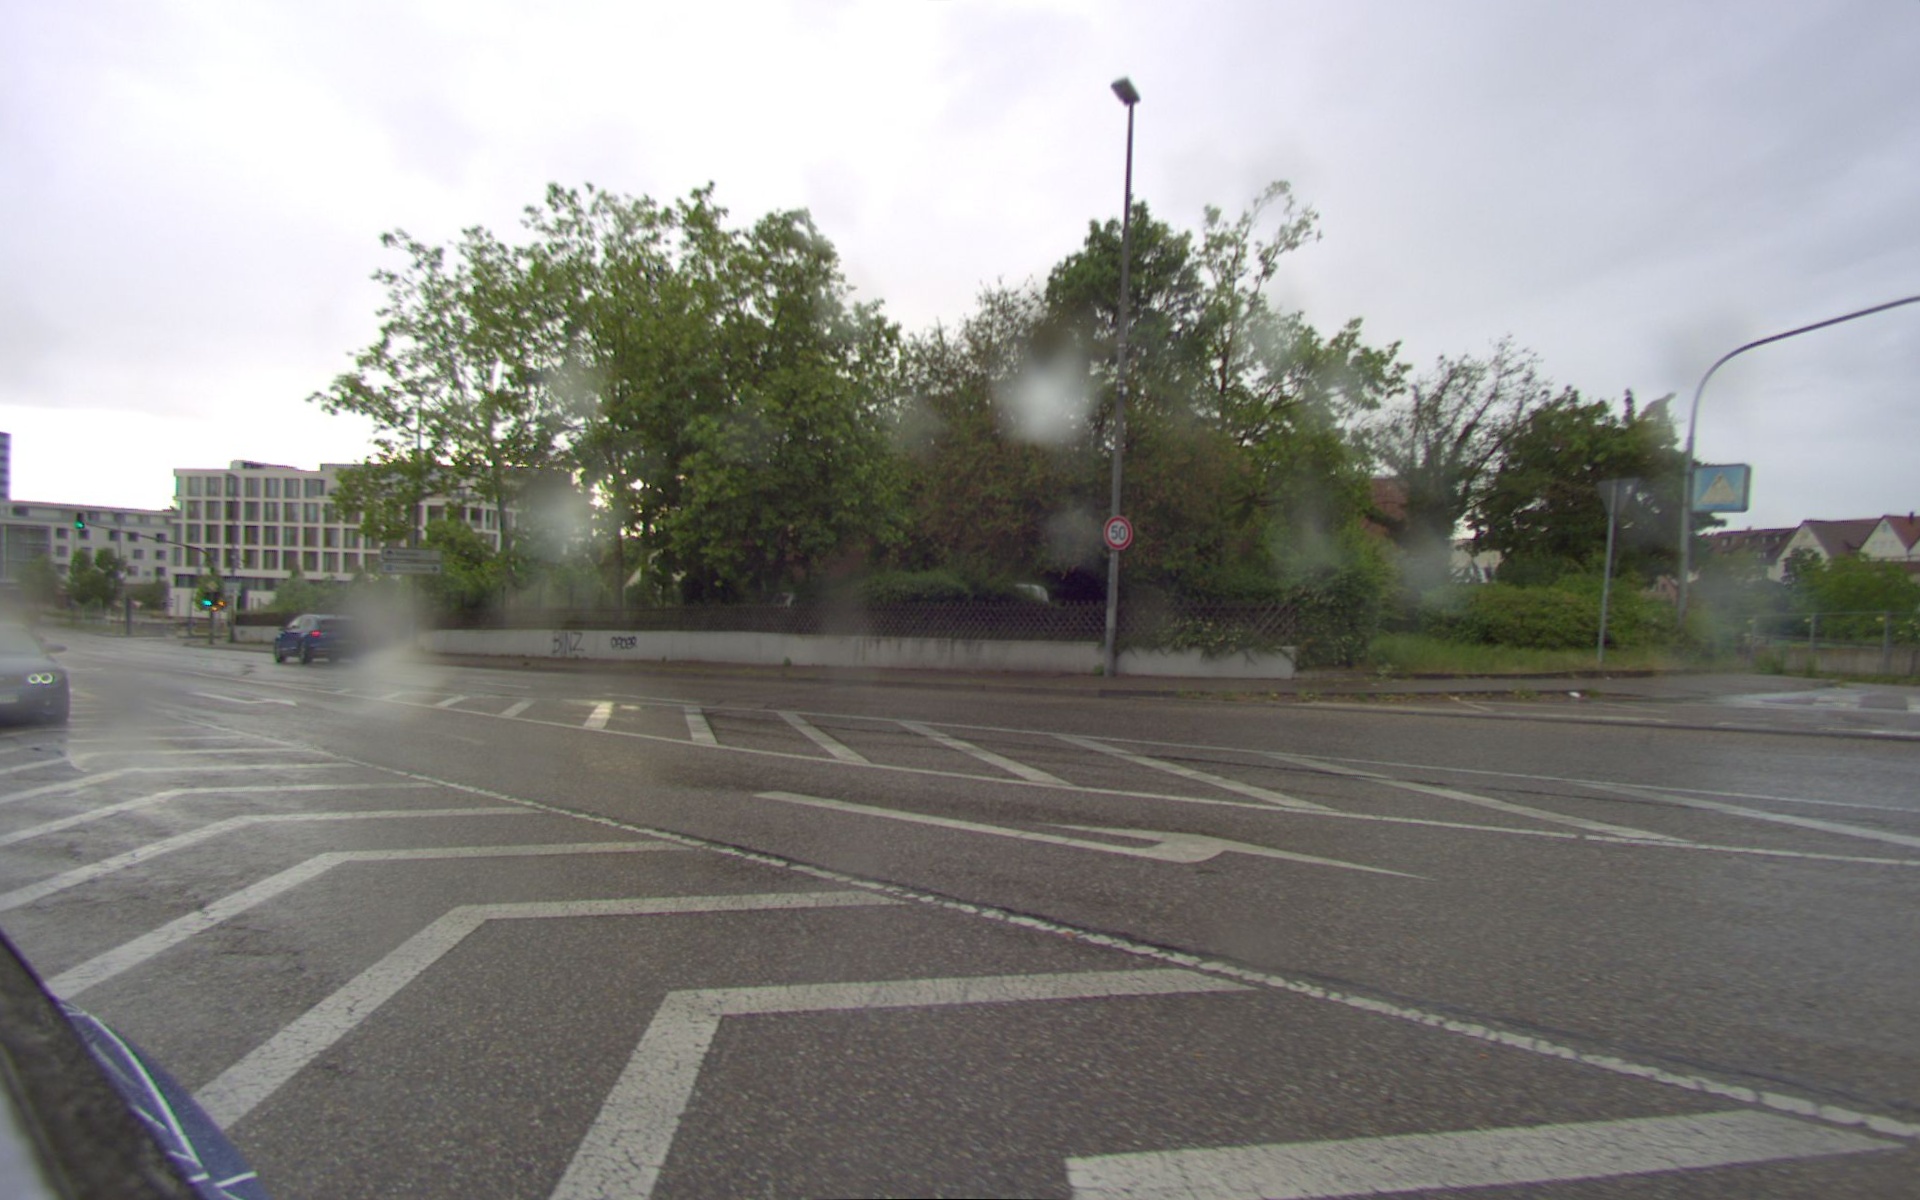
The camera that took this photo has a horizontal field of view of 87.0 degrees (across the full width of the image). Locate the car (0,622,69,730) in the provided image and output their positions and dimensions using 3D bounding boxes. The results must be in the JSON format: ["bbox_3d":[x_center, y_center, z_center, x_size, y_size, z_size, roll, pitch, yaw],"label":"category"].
[{"bbox_3d":[-14.688,1.054,14.986,4.945,1.357,1.766,0,0,43],"label":"car"}]

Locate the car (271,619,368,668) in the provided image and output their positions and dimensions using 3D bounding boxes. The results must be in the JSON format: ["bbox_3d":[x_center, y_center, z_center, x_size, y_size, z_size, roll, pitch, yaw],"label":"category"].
[{"bbox_3d":[-21.453,1.409,33.843,4.000,1.526,1.793,-1,-1,43],"label":"car"}]
